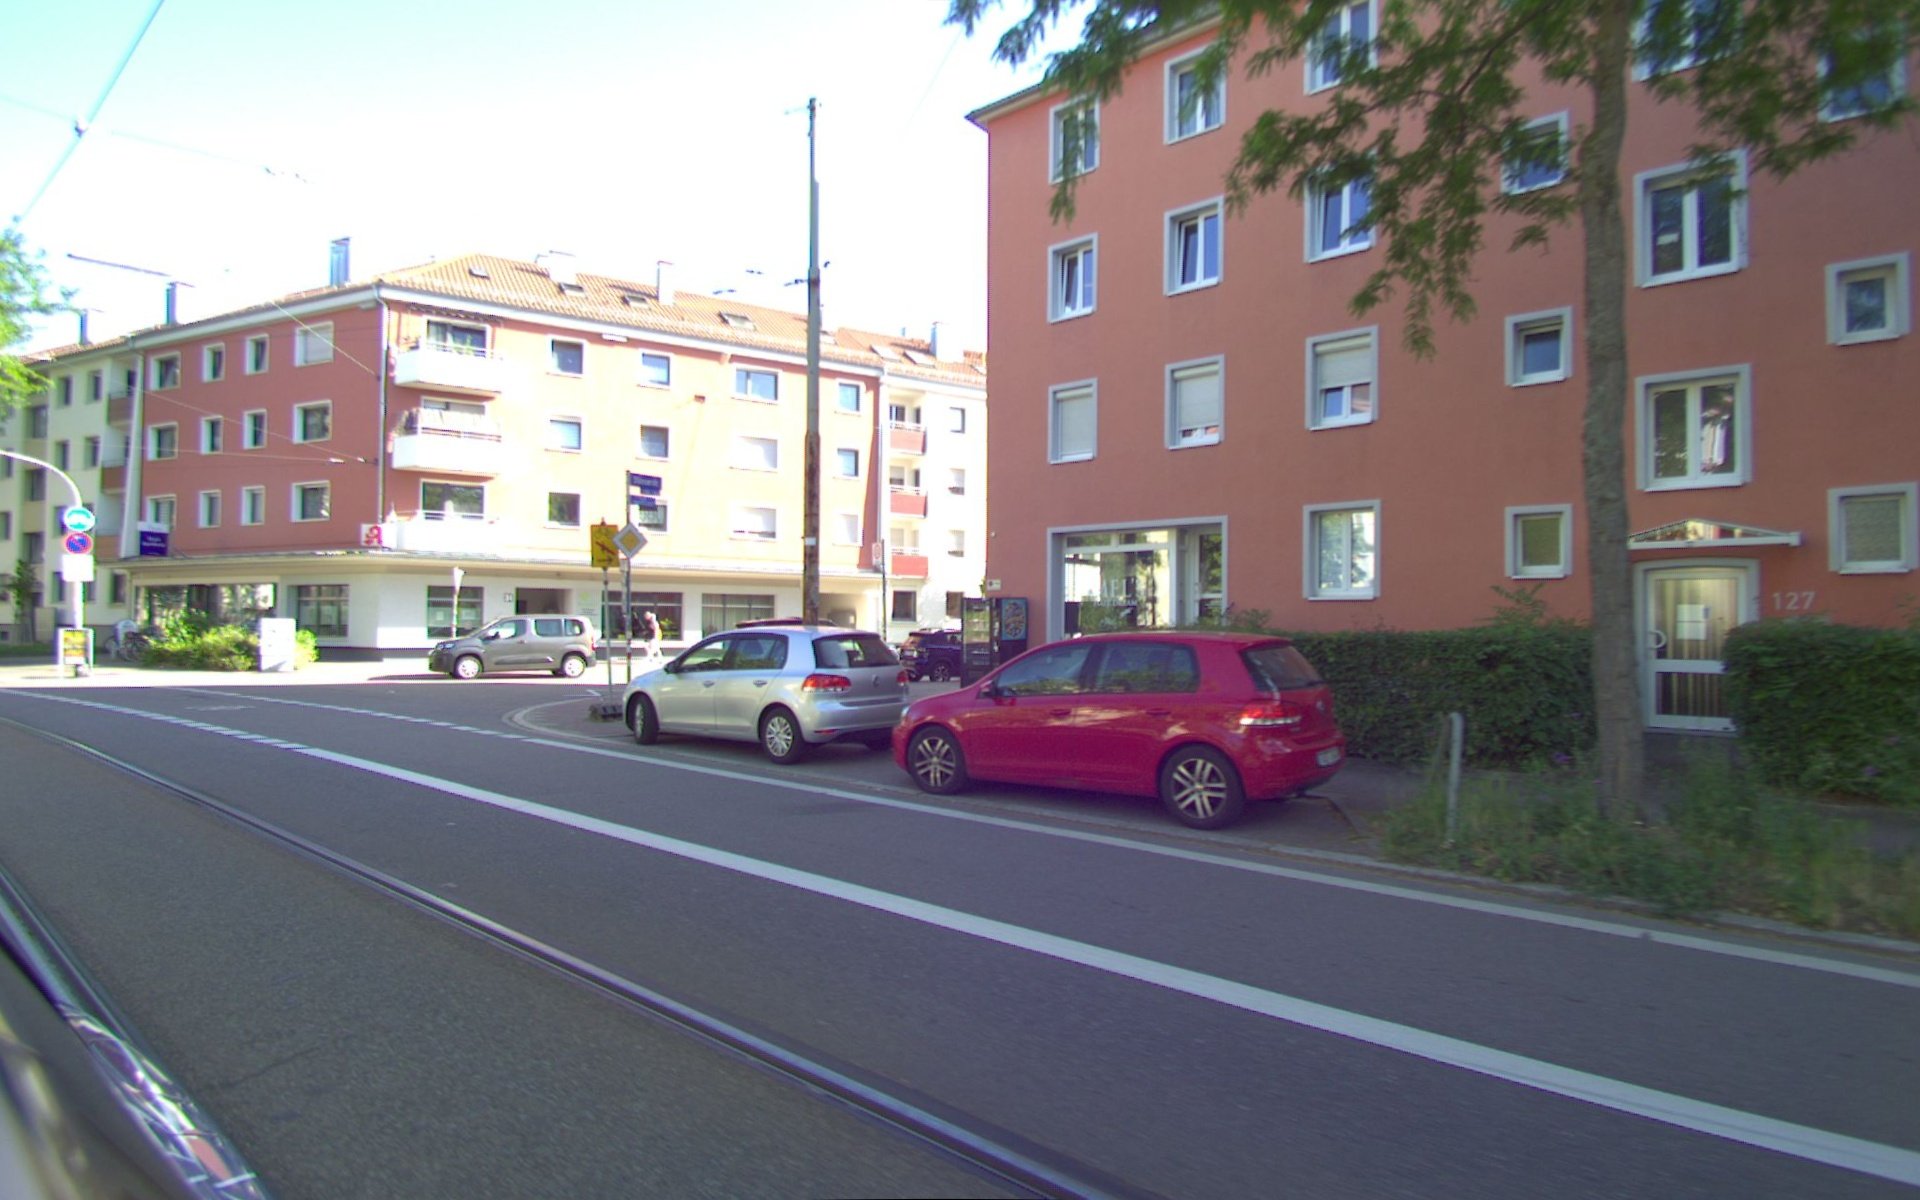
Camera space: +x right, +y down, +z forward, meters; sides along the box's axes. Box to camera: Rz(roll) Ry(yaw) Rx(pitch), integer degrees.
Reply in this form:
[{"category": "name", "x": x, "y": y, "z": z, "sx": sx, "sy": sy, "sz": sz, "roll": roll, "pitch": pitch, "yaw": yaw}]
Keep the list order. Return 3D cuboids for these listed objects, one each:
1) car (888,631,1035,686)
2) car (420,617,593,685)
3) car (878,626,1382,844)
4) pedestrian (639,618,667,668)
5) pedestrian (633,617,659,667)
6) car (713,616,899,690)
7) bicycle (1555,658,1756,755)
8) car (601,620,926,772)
[{"category": "car", "x": 0.069, "y": 1.679, "z": 29.371, "sx": 3.941, "sy": 1.518, "sz": 1.690, "roll": 2, "pitch": -3, "yaw": -30}, {"category": "car", "x": -12.825, "y": 1.440, "z": 28.727, "sx": 4.217, "sy": 1.793, "sz": 1.793, "roll": 2, "pitch": -3, "yaw": -33}, {"category": "car", "x": 1.321, "y": 0.969, "z": 8.805, "sx": 4.090, "sy": 1.465, "sz": 1.558, "roll": -1, "pitch": -1, "yaw": 38}, {"category": "pedestrian", "x": -10.968, "y": 1.536, "z": 36.155, "sx": 0.791, "sy": 1.779, "sz": 0.510, "roll": 2, "pitch": -3, "yaw": -30}, {"category": "pedestrian", "x": -11.492, "y": 1.540, "z": 37.031, "sx": 0.791, "sy": 1.779, "sz": 0.510, "roll": 2, "pitch": -3, "yaw": -30}, {"category": "car", "x": -3.980, "y": 1.376, "z": 26.316, "sx": 4.414, "sy": 1.793, "sz": 1.794, "roll": 2, "pitch": -3, "yaw": -29}, {"category": "bicycle", "x": 7.838, "y": 1.170, "z": 11.469, "sx": 1.819, "sy": 0.940, "sz": 0.500, "roll": -1, "pitch": 0, "yaw": 43}, {"category": "car", "x": -2.460, "y": 1.008, "z": 12.116, "sx": 4.091, "sy": 1.517, "sz": 1.558, "roll": -1, "pitch": -1, "yaw": 39}]
